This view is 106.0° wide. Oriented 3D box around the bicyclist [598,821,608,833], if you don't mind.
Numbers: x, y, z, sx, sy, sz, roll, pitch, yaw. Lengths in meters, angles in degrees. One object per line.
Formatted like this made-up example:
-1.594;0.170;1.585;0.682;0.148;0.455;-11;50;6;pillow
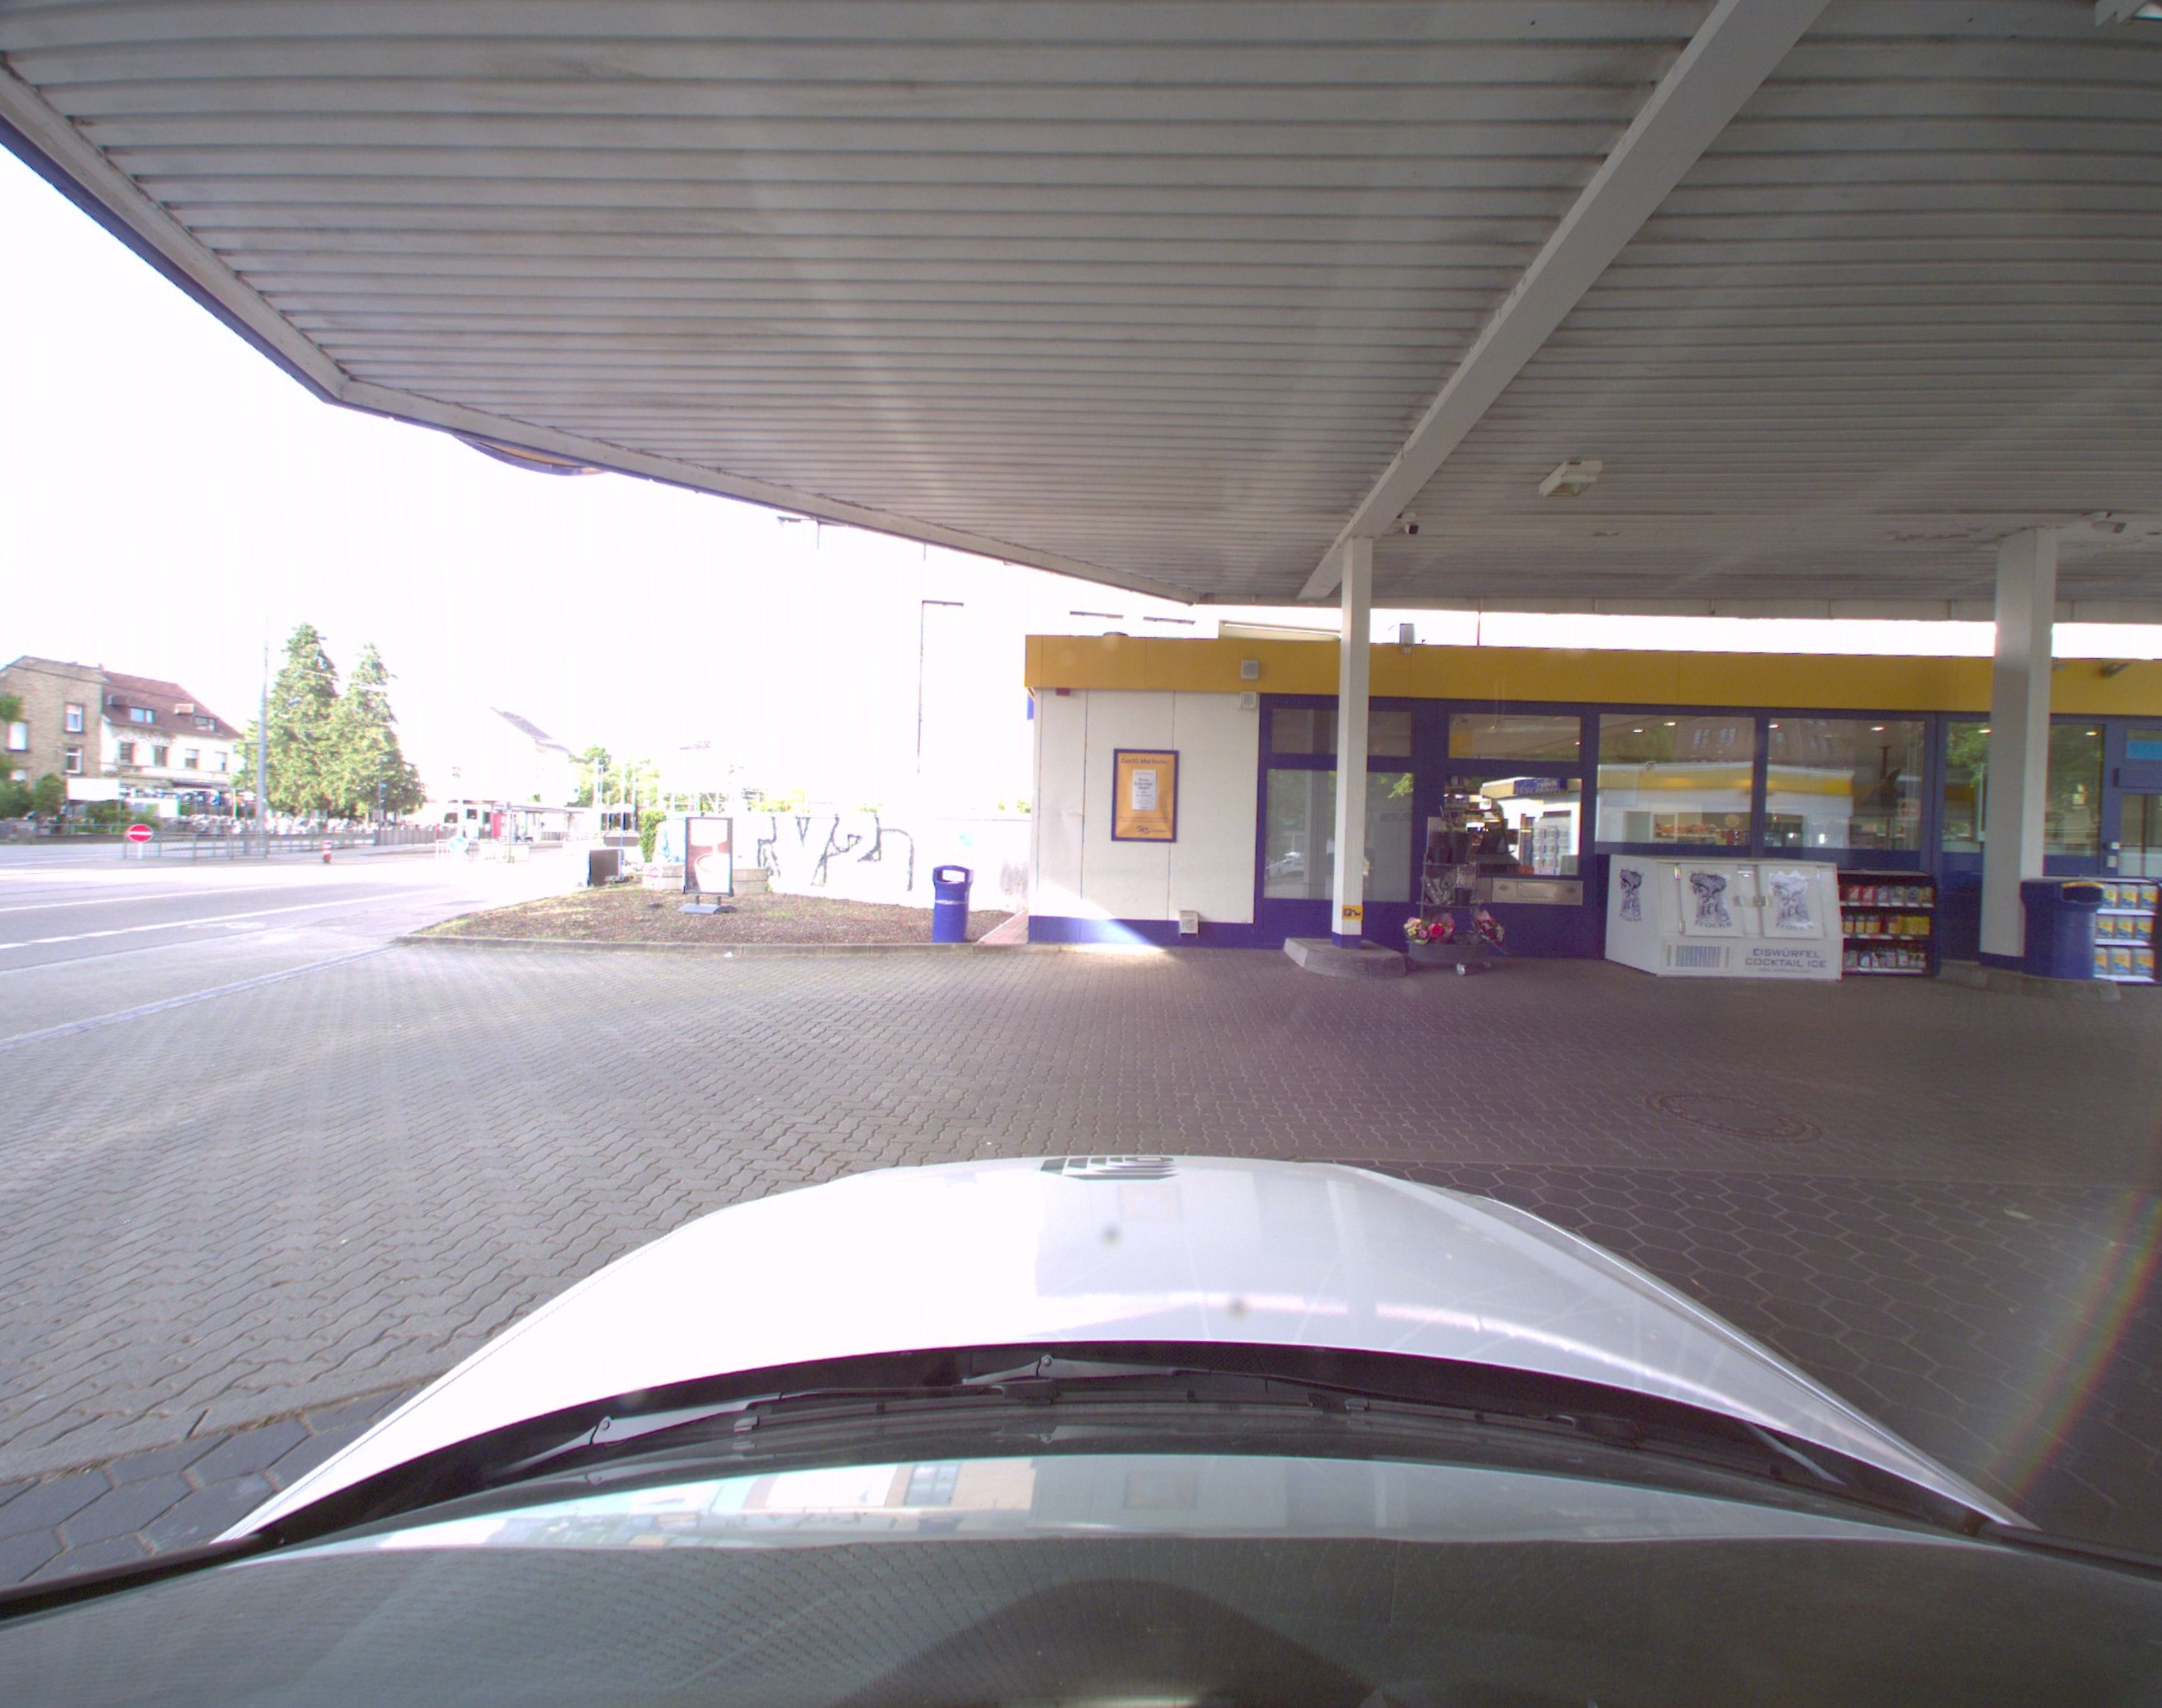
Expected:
-58.443;-3.261;99.505;0.751;1.409;0.917;5;0;-14;bicyclist

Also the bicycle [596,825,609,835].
-58.449;-2.956;99.453;0.750;1.203;1.813;5;0;-14;bicycle
